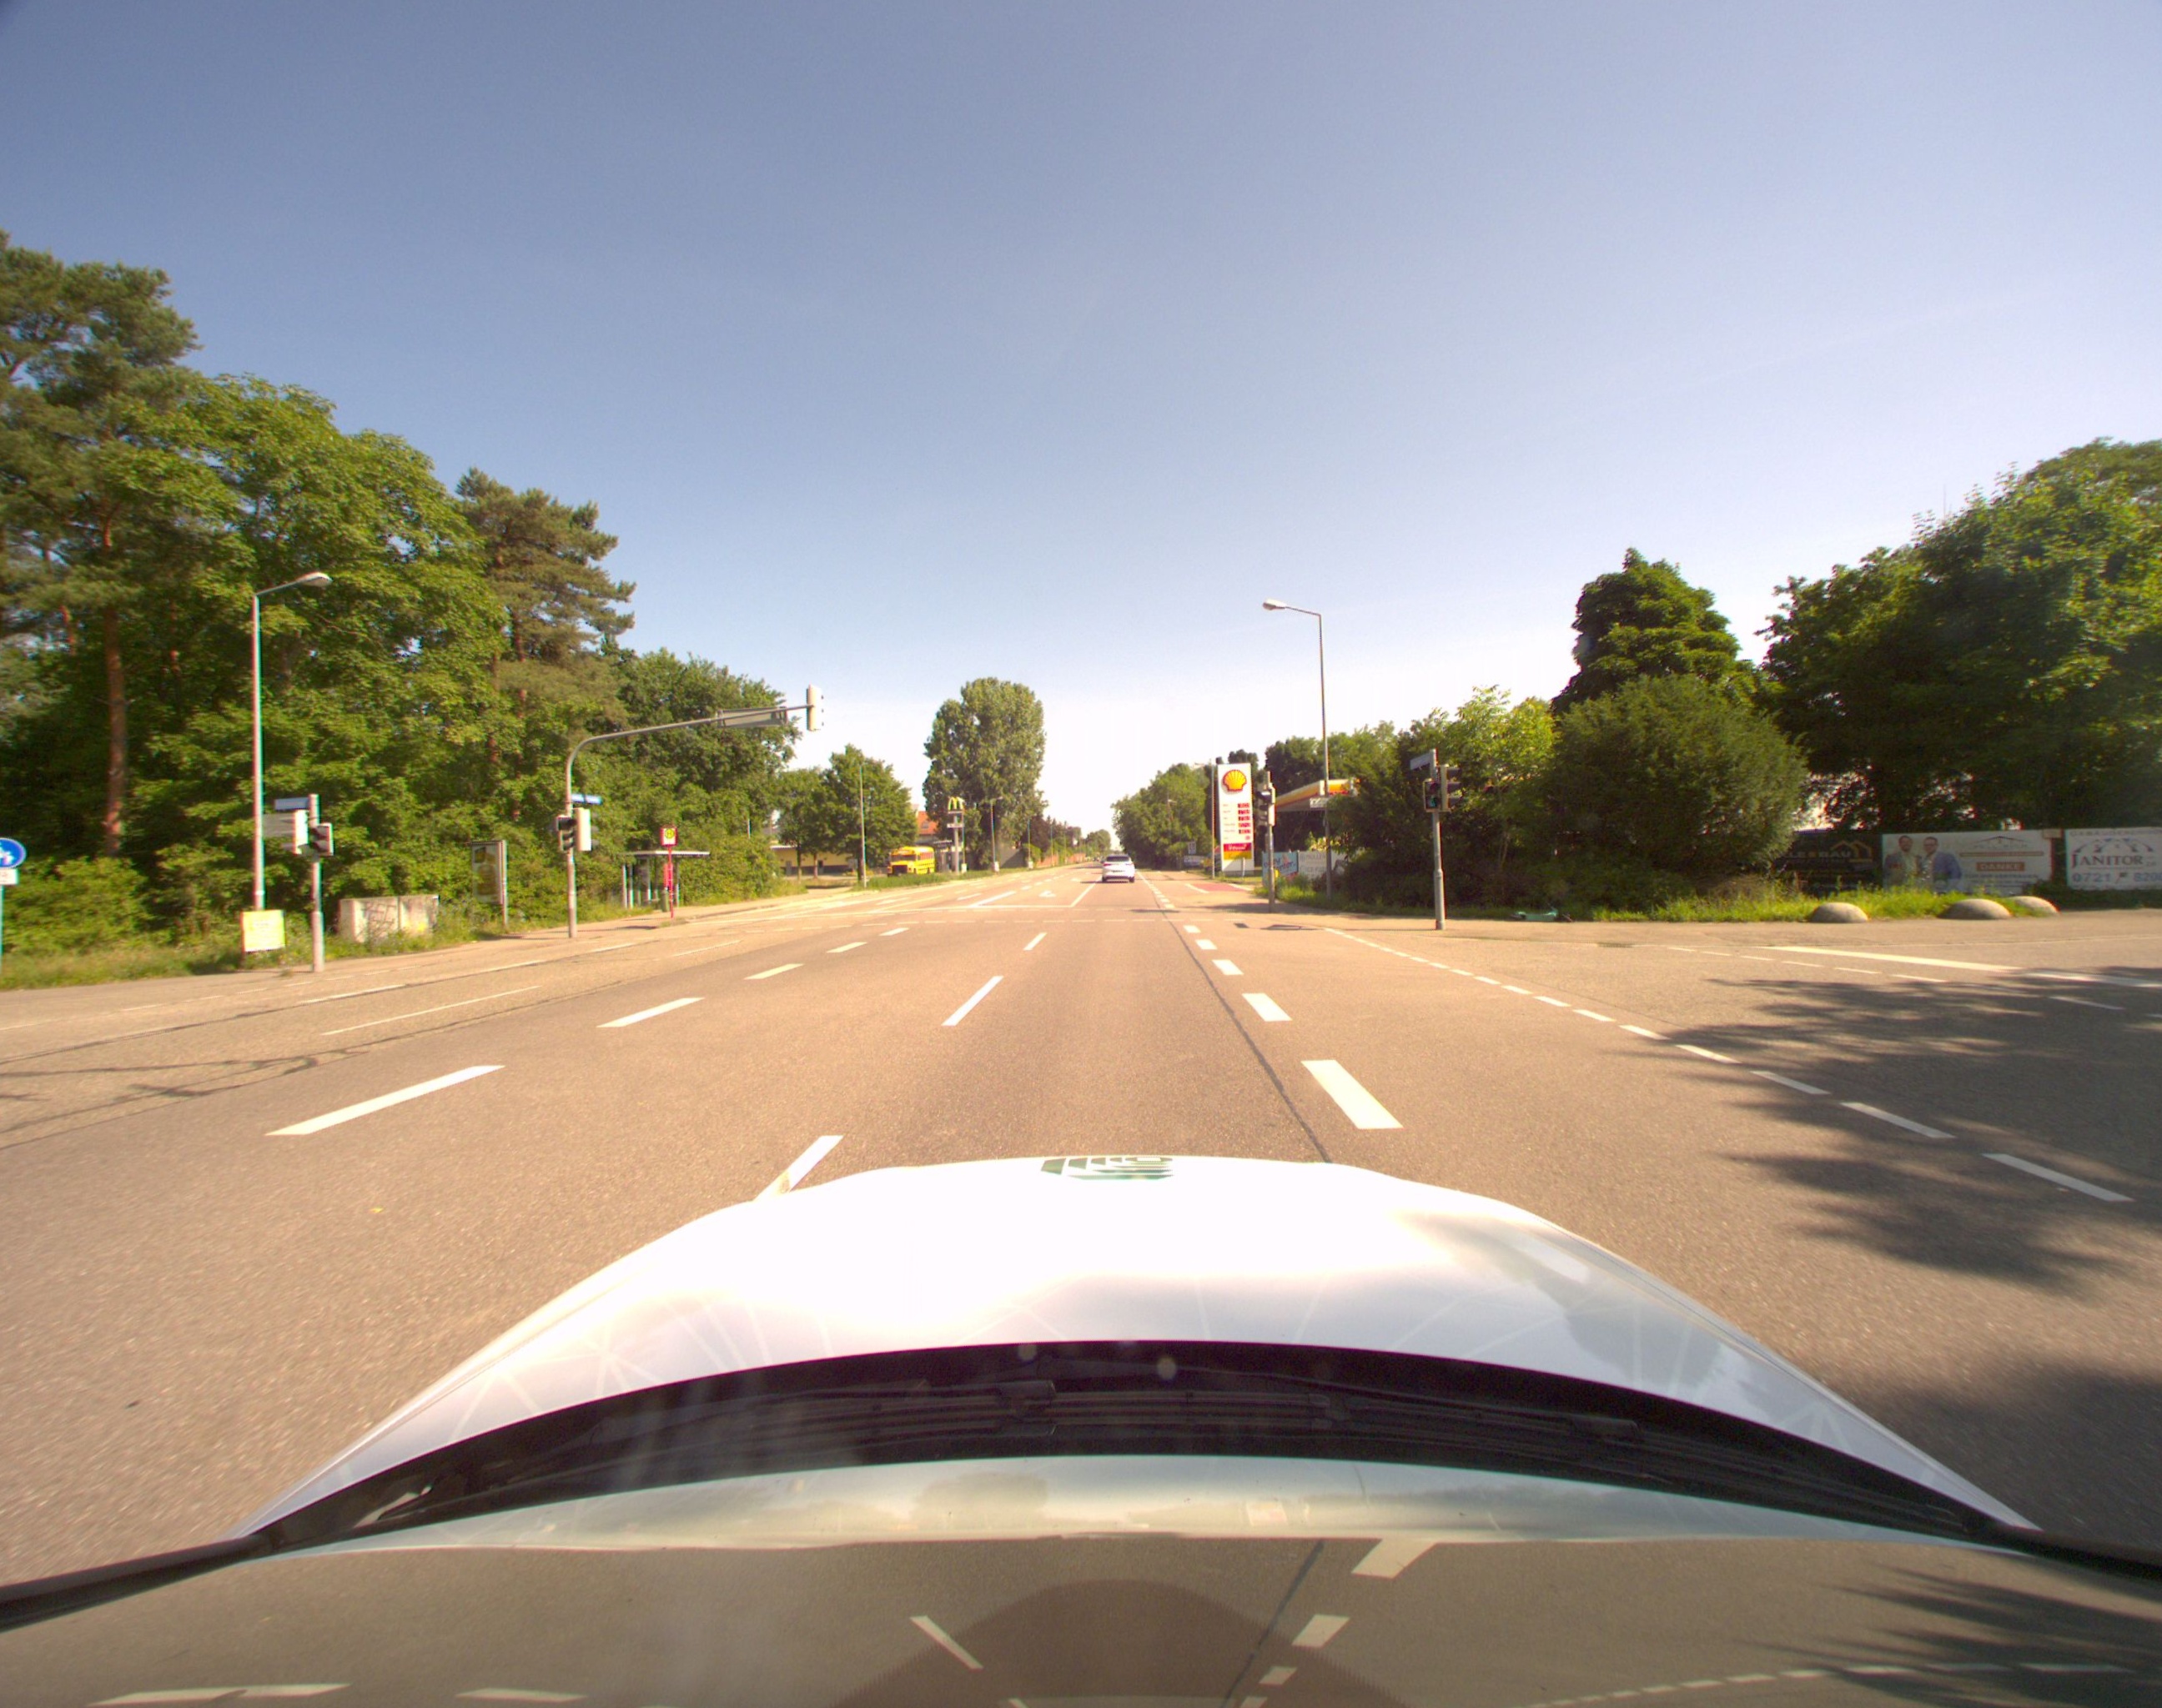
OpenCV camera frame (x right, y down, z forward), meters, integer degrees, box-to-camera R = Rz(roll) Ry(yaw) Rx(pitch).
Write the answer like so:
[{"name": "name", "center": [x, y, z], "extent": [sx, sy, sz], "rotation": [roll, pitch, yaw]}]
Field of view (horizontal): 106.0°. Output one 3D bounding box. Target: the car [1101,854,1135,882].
[{"name": "car", "center": [2.178, 0.790, 47.214], "extent": [1.839, 1.541, 4.228], "rotation": [0, -1, 3]}]

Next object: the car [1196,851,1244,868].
[{"name": "car", "center": [12.278, 0.475, 71.992], "extent": [3.980, 1.530, 1.583], "rotation": [0, -1, -5]}]

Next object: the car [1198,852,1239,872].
[{"name": "car", "center": [10.705, 0.627, 63.542], "extent": [1.586, 1.530, 2.697], "rotation": [1, -2, -43]}]

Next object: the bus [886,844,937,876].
[{"name": "bus", "center": [-15.212, 0.525, 73.634], "extent": [2.570, 2.679, 8.998], "rotation": [0, -1, 1]}]
